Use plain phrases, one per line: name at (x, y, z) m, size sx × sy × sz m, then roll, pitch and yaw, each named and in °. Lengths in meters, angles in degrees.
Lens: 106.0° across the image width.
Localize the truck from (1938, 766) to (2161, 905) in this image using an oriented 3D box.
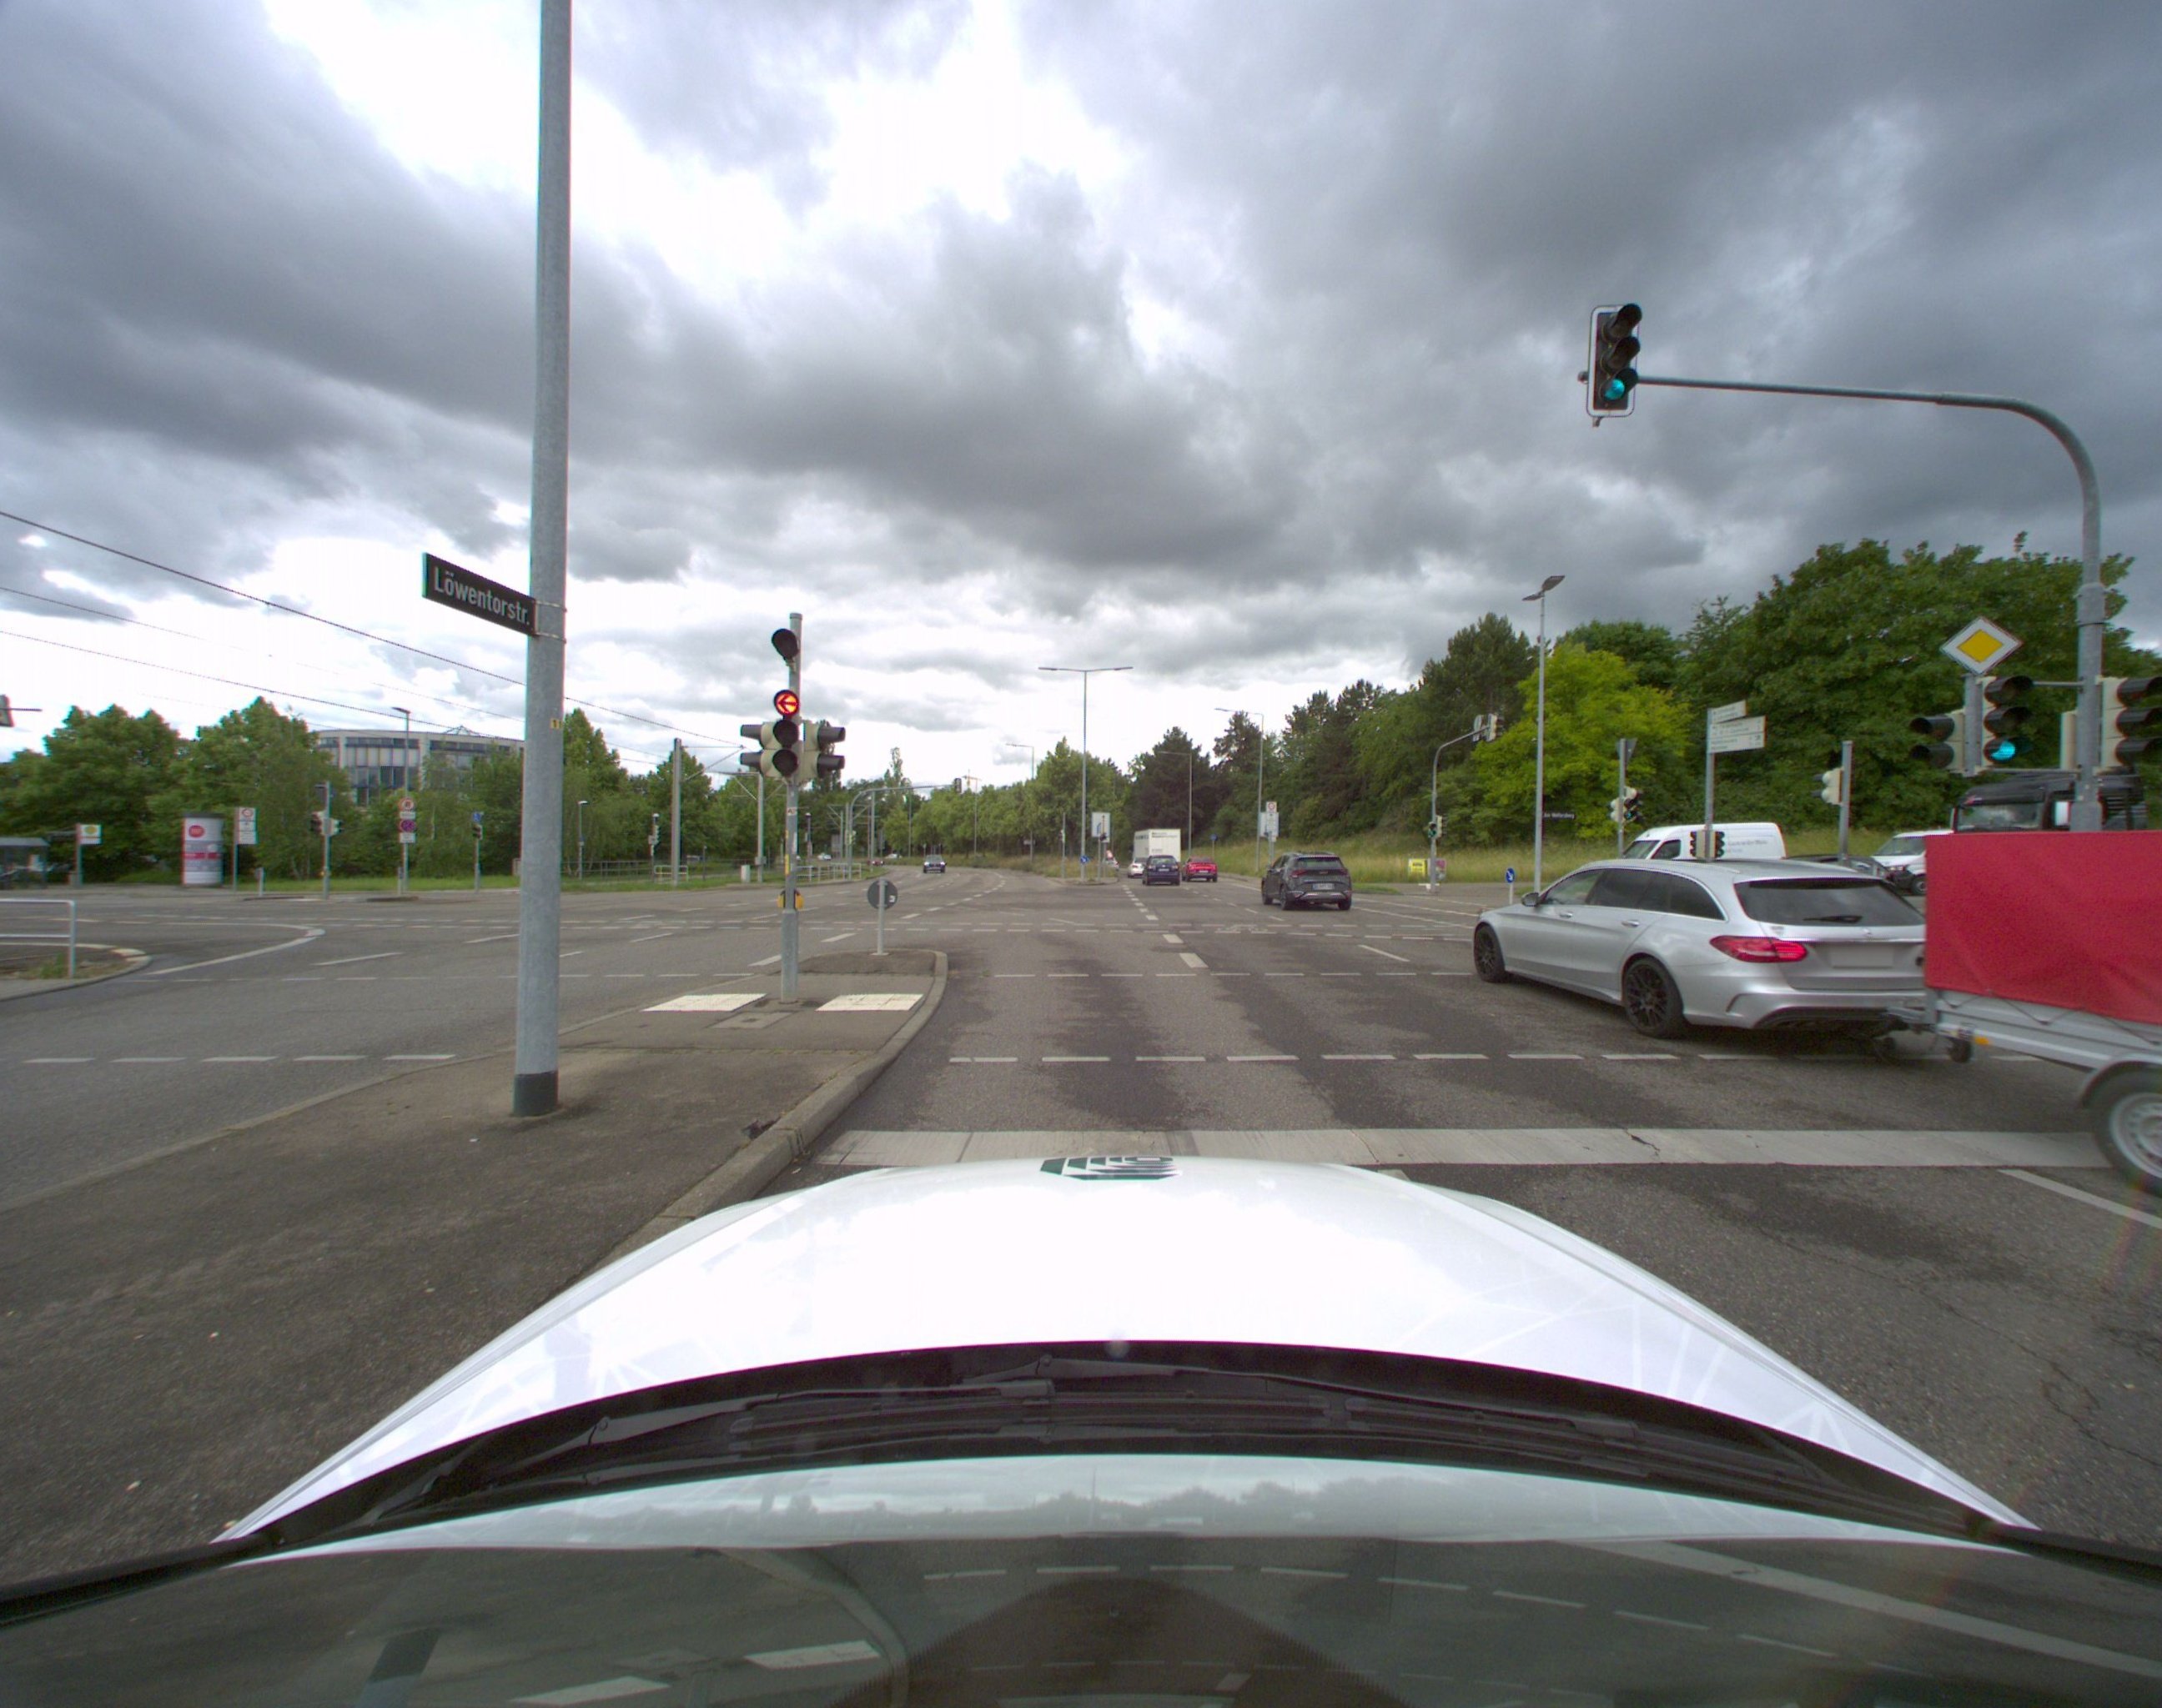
truck at (27.930, -0.511, 22.267) m, size 6.027 × 3.538 × 2.729 m, roll -1°, pitch 0°, yaw 2°

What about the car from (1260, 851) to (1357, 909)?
car at (6.541, 0.696, 23.845) m, size 1.772 × 1.546 × 4.025 m, roll 0°, pitch 0°, yaw 1°

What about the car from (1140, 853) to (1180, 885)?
car at (4.095, 0.746, 42.707) m, size 1.772 × 1.546 × 4.025 m, roll 0°, pitch 0°, yaw 1°

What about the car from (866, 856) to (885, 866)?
car at (-31.425, 1.110, 124.599) m, size 1.791 × 1.443 × 4.386 m, roll -1°, pitch 0°, yaw -28°

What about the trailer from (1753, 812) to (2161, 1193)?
trailer at (5.459, 0.620, 4.045) m, size 1.759 × 1.616 × 3.044 m, roll 0°, pitch 0°, yaw 0°

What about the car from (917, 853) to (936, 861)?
car at (-33.803, 0.659, 177.955) m, size 1.761 × 1.546 × 4.050 m, roll 0°, pitch 0°, yaw 32°

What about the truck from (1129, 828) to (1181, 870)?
truck at (6.180, -0.403, 69.887) m, size 2.734 × 3.328 × 11.391 m, roll 0°, pitch 0°, yaw -4°

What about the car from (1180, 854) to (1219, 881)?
car at (7.103, 0.778, 49.047) m, size 1.772 × 1.546 × 4.025 m, roll 0°, pitch 0°, yaw 1°

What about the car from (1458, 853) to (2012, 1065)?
car at (5.506, 0.717, 7.798) m, size 1.772 × 1.421 × 4.459 m, roll 0°, pitch 0°, yaw 1°

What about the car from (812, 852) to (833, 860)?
car at (-53.868, 0.370, 169.693) m, size 4.469 × 1.446 × 1.798 m, roll 0°, pitch 2°, yaw 36°

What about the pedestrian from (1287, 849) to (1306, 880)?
pedestrian at (11.348, 0.550, 42.835) m, size 0.811 × 1.627 × 0.791 m, roll 0°, pitch 0°, yaw 1°

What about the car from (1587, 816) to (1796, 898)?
car at (21.893, 0.098, 29.406) m, size 5.870 × 2.781 × 2.136 m, roll -1°, pitch 0°, yaw 2°

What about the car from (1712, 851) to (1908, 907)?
car at (20.276, 0.673, 22.770) m, size 3.905 × 1.436 × 1.732 m, roll -1°, pitch 0°, yaw 1°

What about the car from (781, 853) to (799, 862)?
car at (-56.068, 0.675, 156.971) m, size 1.845 × 1.629 × 4.373 m, roll -1°, pitch 0°, yaw -41°

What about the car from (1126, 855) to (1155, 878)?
car at (4.175, 0.847, 57.314) m, size 1.772 × 1.546 × 4.025 m, roll 0°, pitch 0°, yaw 1°

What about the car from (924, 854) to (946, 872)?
car at (-13.113, 0.745, 73.245) m, size 1.777 × 1.546 × 4.214 m, roll 0°, pitch 0°, yaw -8°

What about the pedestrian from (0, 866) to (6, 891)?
pedestrian at (-57.704, 1.298, 43.126) m, size 0.774 × 1.303 × 0.666 m, roll 0°, pitch 0°, yaw 15°

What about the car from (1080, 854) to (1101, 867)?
car at (1.097, 0.752, 95.475) m, size 1.778 × 1.546 × 4.011 m, roll 0°, pitch 0°, yaw -10°

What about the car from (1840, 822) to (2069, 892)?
car at (30.678, 0.113, 28.761) m, size 5.677 × 2.289 × 2.136 m, roll -1°, pitch 0°, yaw 2°

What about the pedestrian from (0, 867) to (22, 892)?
pedestrian at (-56.436, 1.333, 42.813) m, size 0.774 × 1.304 × 0.666 m, roll 0°, pitch 0°, yaw 15°

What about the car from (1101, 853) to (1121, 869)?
car at (3.064, 0.700, 84.103) m, size 1.774 × 1.546 × 4.021 m, roll 0°, pitch 0°, yaw -3°
